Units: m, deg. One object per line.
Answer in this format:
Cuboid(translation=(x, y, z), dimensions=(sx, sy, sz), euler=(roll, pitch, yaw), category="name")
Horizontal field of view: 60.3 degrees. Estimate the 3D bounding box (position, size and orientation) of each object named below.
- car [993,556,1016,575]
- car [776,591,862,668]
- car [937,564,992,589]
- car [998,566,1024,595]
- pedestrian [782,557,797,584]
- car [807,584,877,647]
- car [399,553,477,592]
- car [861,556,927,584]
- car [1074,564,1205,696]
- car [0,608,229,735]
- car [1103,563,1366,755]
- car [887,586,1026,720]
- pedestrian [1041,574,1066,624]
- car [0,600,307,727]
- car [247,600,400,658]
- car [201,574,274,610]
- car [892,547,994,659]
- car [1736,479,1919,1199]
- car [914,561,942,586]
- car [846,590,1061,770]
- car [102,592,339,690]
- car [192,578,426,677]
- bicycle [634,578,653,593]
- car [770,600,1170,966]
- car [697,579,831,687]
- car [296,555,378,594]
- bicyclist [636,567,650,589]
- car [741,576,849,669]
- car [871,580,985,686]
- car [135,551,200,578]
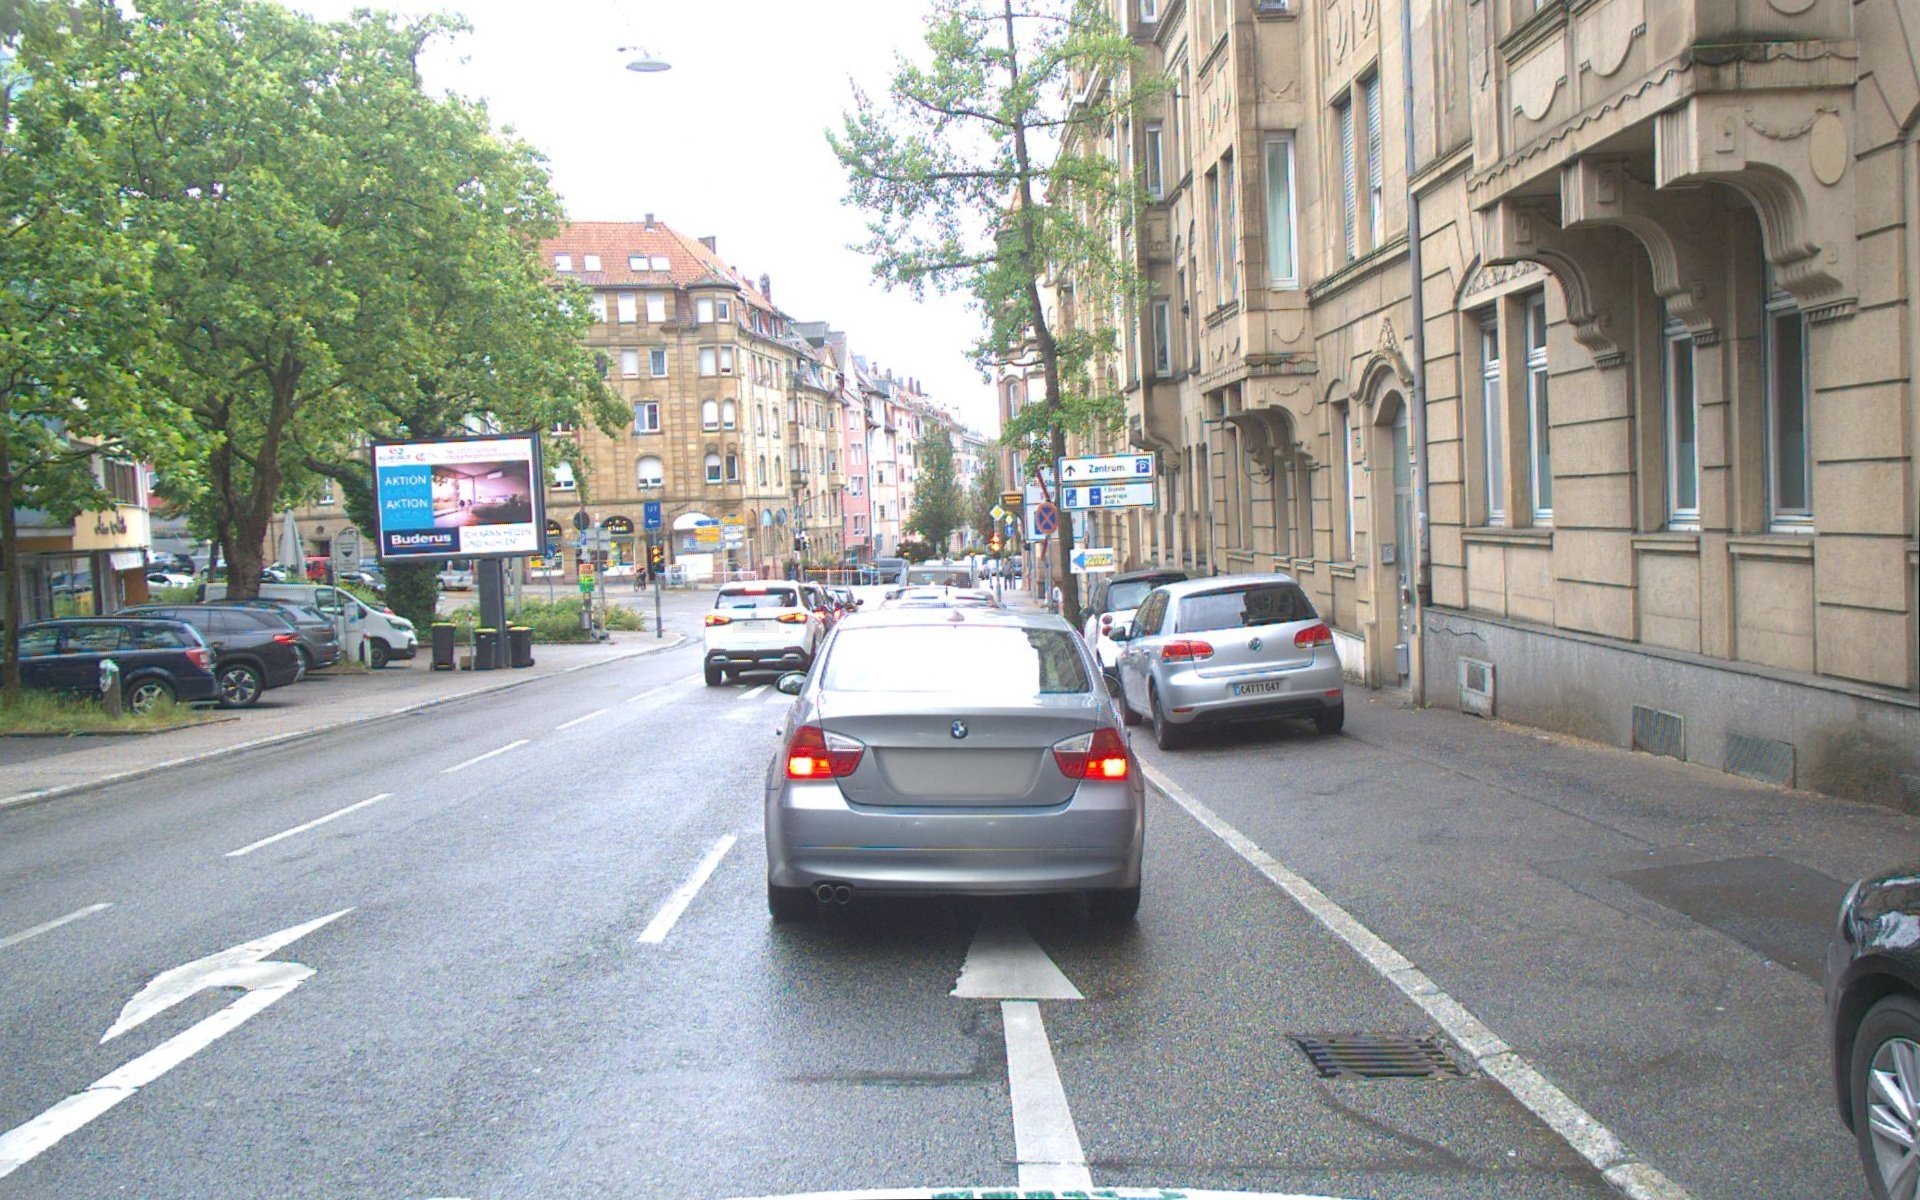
Cuboid(translation=(3.043, -2.381, 113.454), dimensions=(1.405, 1.195, 3.433), euler=(1, 0, -2), category="car")
Cuboid(translation=(-3.383, 0.676, 40.368), dimensions=(1.723, 1.737, 4.000), euler=(-1, 1, 0), category="car")
Cuboid(translation=(0.328, -1.584, 113.801), dimensions=(1.957, 1.606, 3.991), euler=(1, 0, 31), category="car")
Cuboid(translation=(3.765, -1.433, 122.283), dimensions=(1.652, 2.048, 3.999), euler=(-3, 1, -1), category="car")
Cuboid(translation=(-10.427, -1.824, 101.194), dimensions=(0.716, 1.605, 0.528), euler=(-1, 1, 8), category="pedestrian")
Cuboid(translation=(-3.392, 0.425, 48.258), dimensions=(1.723, 1.737, 4.000), euler=(-1, 1, 0), category="car")
Cuboid(translation=(-30.369, -1.630, 96.229), dimensions=(4.196, 2.138, 1.998), euler=(2, 2, 28), category="car")
Cuboid(translation=(-5.134, -2.372, 130.036), dimensions=(5.072, 2.049, 2.698), euler=(1, 0, -1), category="car")
Cuboid(translation=(2.409, 0.371, 22.689), dimensions=(1.273, 1.569, 2.975), euler=(-6, 1, -1), category="car")
Cuboid(translation=(-12.988, 1.028, 23.921), dimensions=(4.299, 1.601, 1.929), euler=(-3, 1, -24), category="car")
Cuboid(translation=(2.554, 0.490, 16.311), dimensions=(1.725, 1.476, 3.999), euler=(-6, 1, -1), category="car")
Cuboid(translation=(-0.027, 0.585, 20.790), dimensions=(1.562, 1.490, 4.000), euler=(-1, 1, 0), category="car")
Cuboid(translation=(3.026, -0.035, 53.687), dimensions=(0.618, 1.534, 0.693), euler=(-6, 0, -2), category="pedestrian")
Cuboid(translation=(-12.880, 0.958, 26.640), dimensions=(4.308, 1.701, 1.842), euler=(-3, 1, -24), category="car")
Cuboid(translation=(-17.880, 0.789, 46.568), dimensions=(3.916, 1.476, 1.757), euler=(-2, 0, -22), category="car")
Cuboid(translation=(-45.351, -0.524, 103.825), dimensions=(4.196, 2.138, 1.998), euler=(2, 2, 28), category="car")
Cuboid(translation=(-0.357, 0.058, 33.657), dimensions=(1.953, 2.143, 3.999), euler=(0, 0, -1), category="car")
Cuboid(translation=(2.825, 0.521, 1.970), dimensions=(1.724, 1.679, 4.098), euler=(-6, 1, 0), category="car")
Cuboid(translation=(-2.037, -1.657, 104.720), dimensions=(1.680, 1.476, 3.741), euler=(-2, 0, -1), category="car")
Cuboid(translation=(-0.044, 0.635, 15.366), dimensions=(1.723, 1.407, 4.000), euler=(-1, 1, 0), category="car")
Cuboid(translation=(-15.081, 0.805, 33.986), dimensions=(4.295, 1.815, 1.927), euler=(-2, 0, -22), category="car")
Cuboid(translation=(-15.392, 0.609, 39.304), dimensions=(4.989, 2.142, 1.979), euler=(-2, 0, -22), category="car")
Cuboid(translation=(-18.416, -0.830, 96.242), dimensions=(0.561, 0.873, 1.523), euler=(1, 0, 9), category="bicycle")
Cuboid(translation=(0.053, 0.733, 8.438), dimensions=(1.590, 1.407, 3.615), euler=(-1, 1, 0), category="car")
Cuboid(translation=(-3.198, 0.493, 27.717), dimensions=(1.830, 1.654, 3.999), euler=(-1, 0, -1), category="car")
Cuboid(translation=(-35.643, -1.475, 94.609), dimensions=(3.902, 2.048, 2.002), euler=(-3, 1, 16), category="car")
Cuboid(translation=(-18.412, -1.277, 96.160), dimensions=(0.556, 1.295, 0.690), euler=(1, -1, 11), category="bicyclist")
Cuboid(translation=(-3.260, 0.409, 33.314), dimensions=(1.723, 1.737, 4.000), euler=(-1, 1, 0), category="car")
Cuboid(translation=(-0.471, 0.482, 27.222), dimensions=(1.723, 1.594, 4.000), euler=(-1, 1, 0), category="car")
Cuboid(translation=(-51.204, -2.285, 106.877), dimensions=(3.909, 1.718, 1.726), euler=(1, 0, 27), category="car")
